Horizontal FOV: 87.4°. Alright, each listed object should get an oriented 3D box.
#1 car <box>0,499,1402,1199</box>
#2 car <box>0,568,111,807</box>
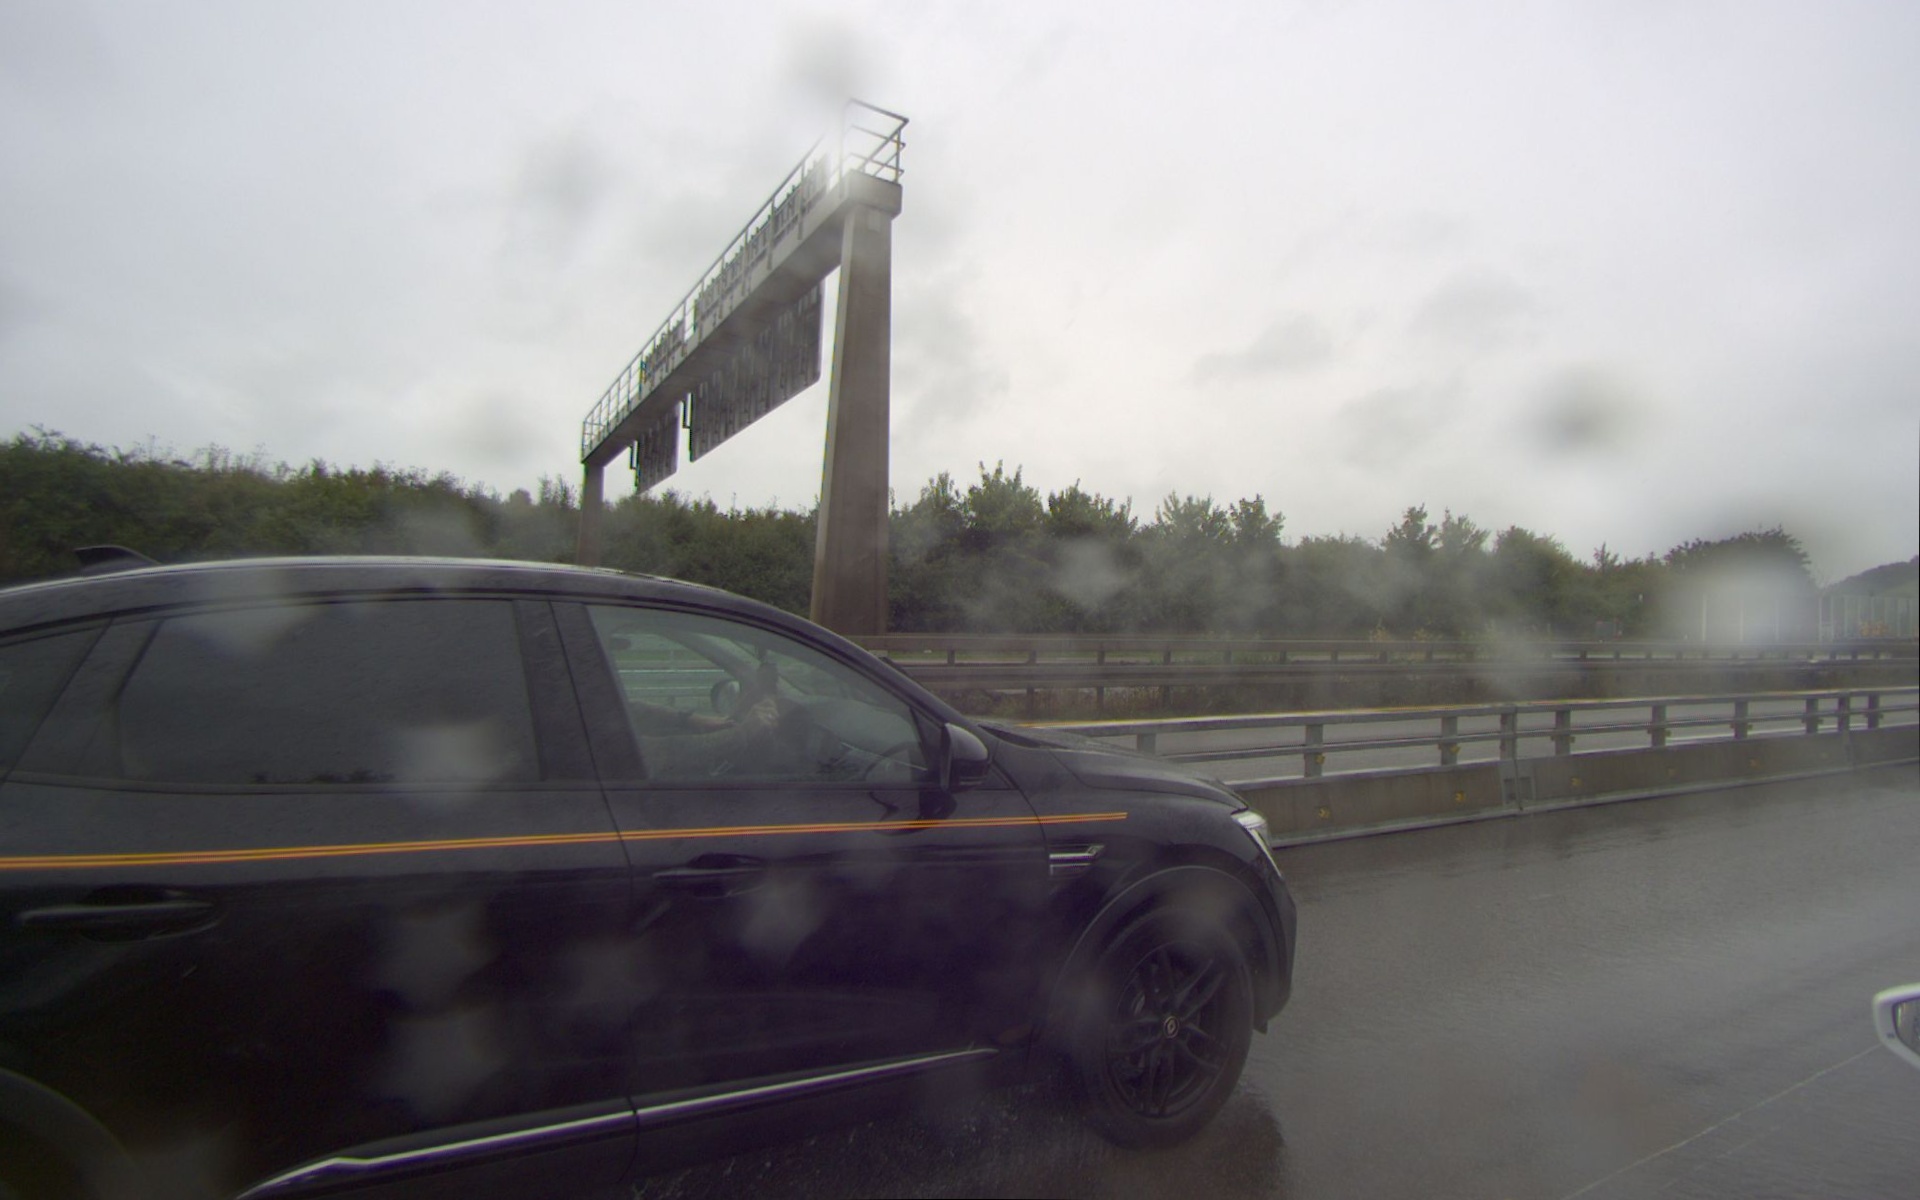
[{"bbox_3d":[-1.042,0.674,2.825,4.361,1.606,1.984,2,0,-30],"label":"car"},{"bbox_3d":[-8.173,0.498,6.257,4.081,1.522,1.838,2,0,-30],"label":"car"}]
